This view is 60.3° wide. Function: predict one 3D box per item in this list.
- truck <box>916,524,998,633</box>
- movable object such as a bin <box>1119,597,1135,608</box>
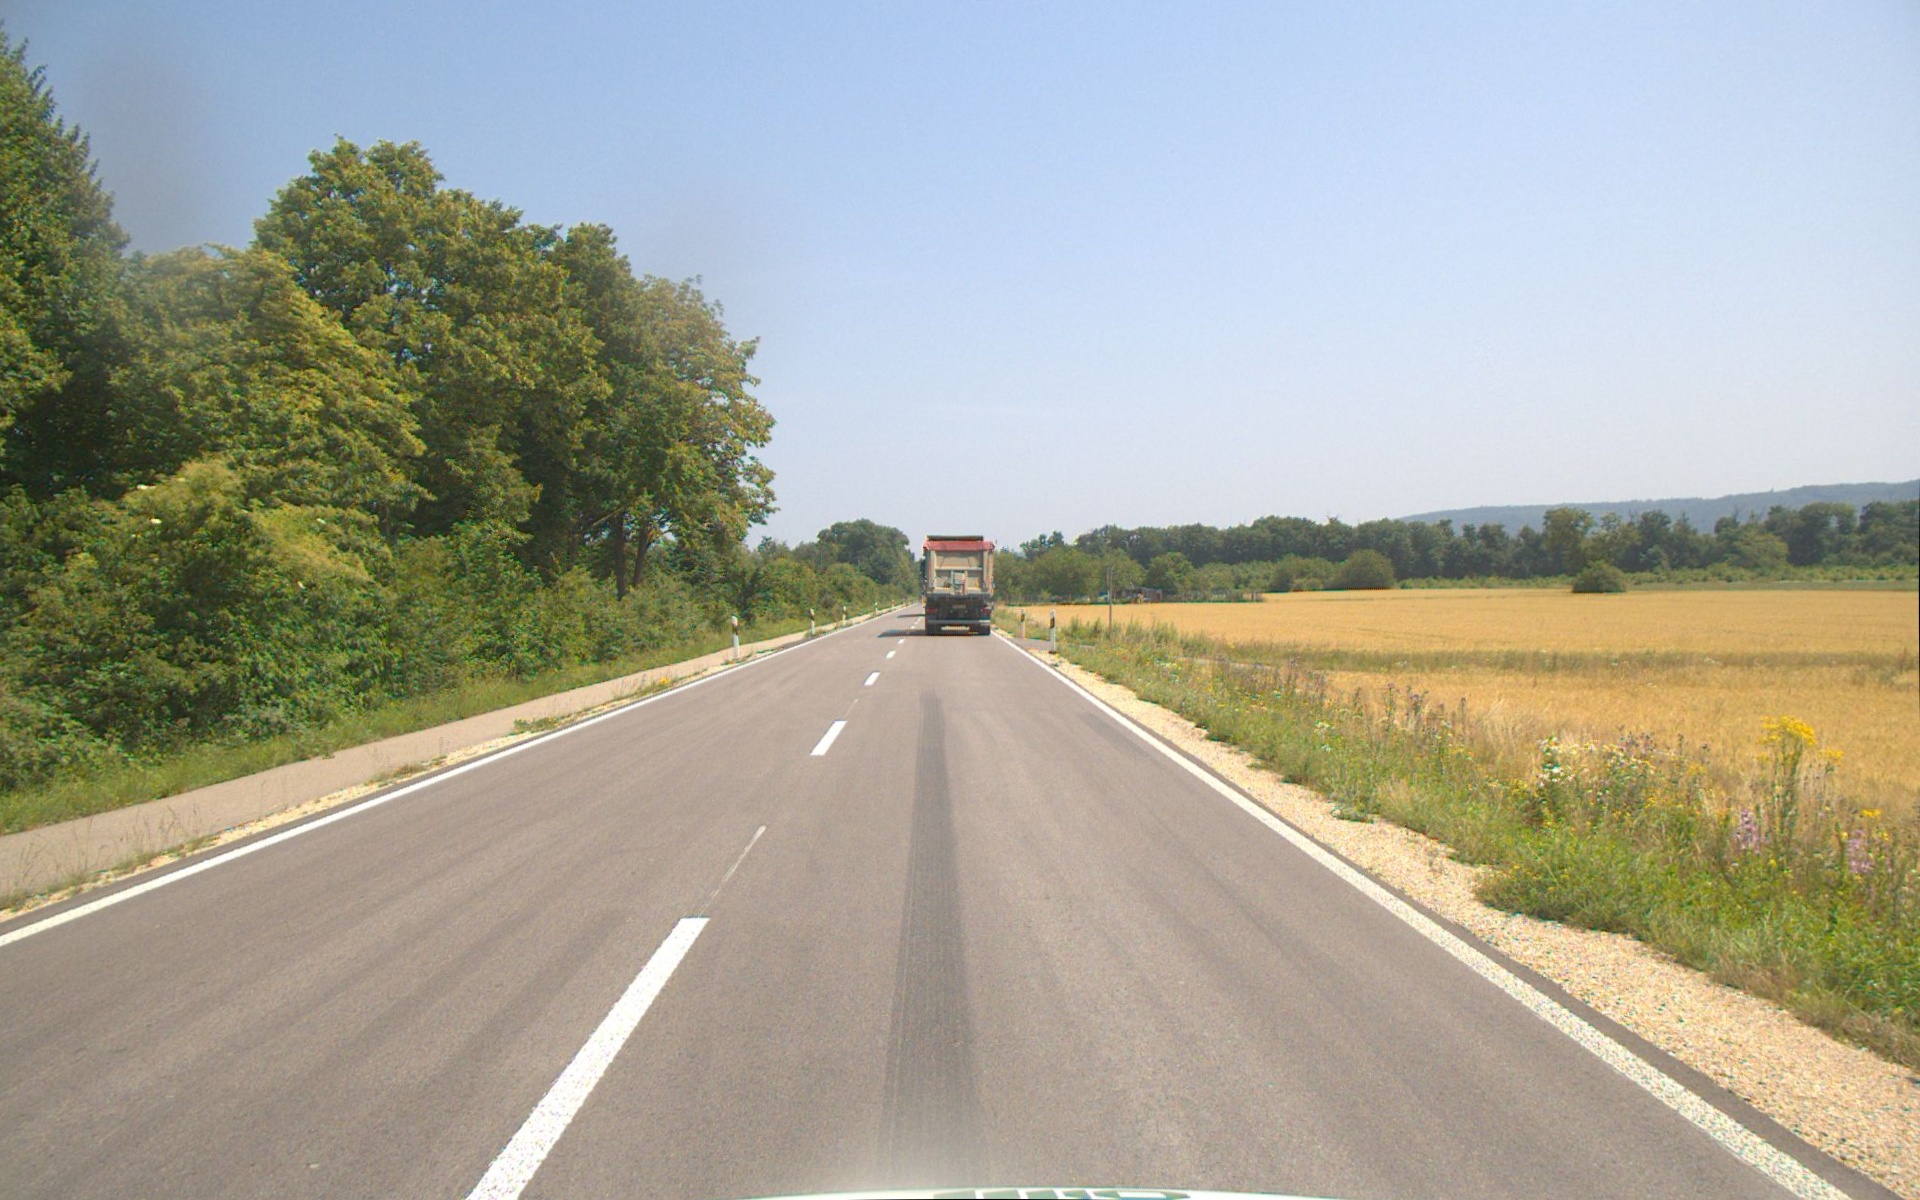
[{"bbox_3d":[-0.194,-0.751,66.094,2.948,3.942,12.206,1,0,-1],"label":"truck"},{"bbox_3d":[23.352,0.294,230.809,1.540,1.522,3.655,-1,0,-5],"label":"movable object such as a bin"}]
